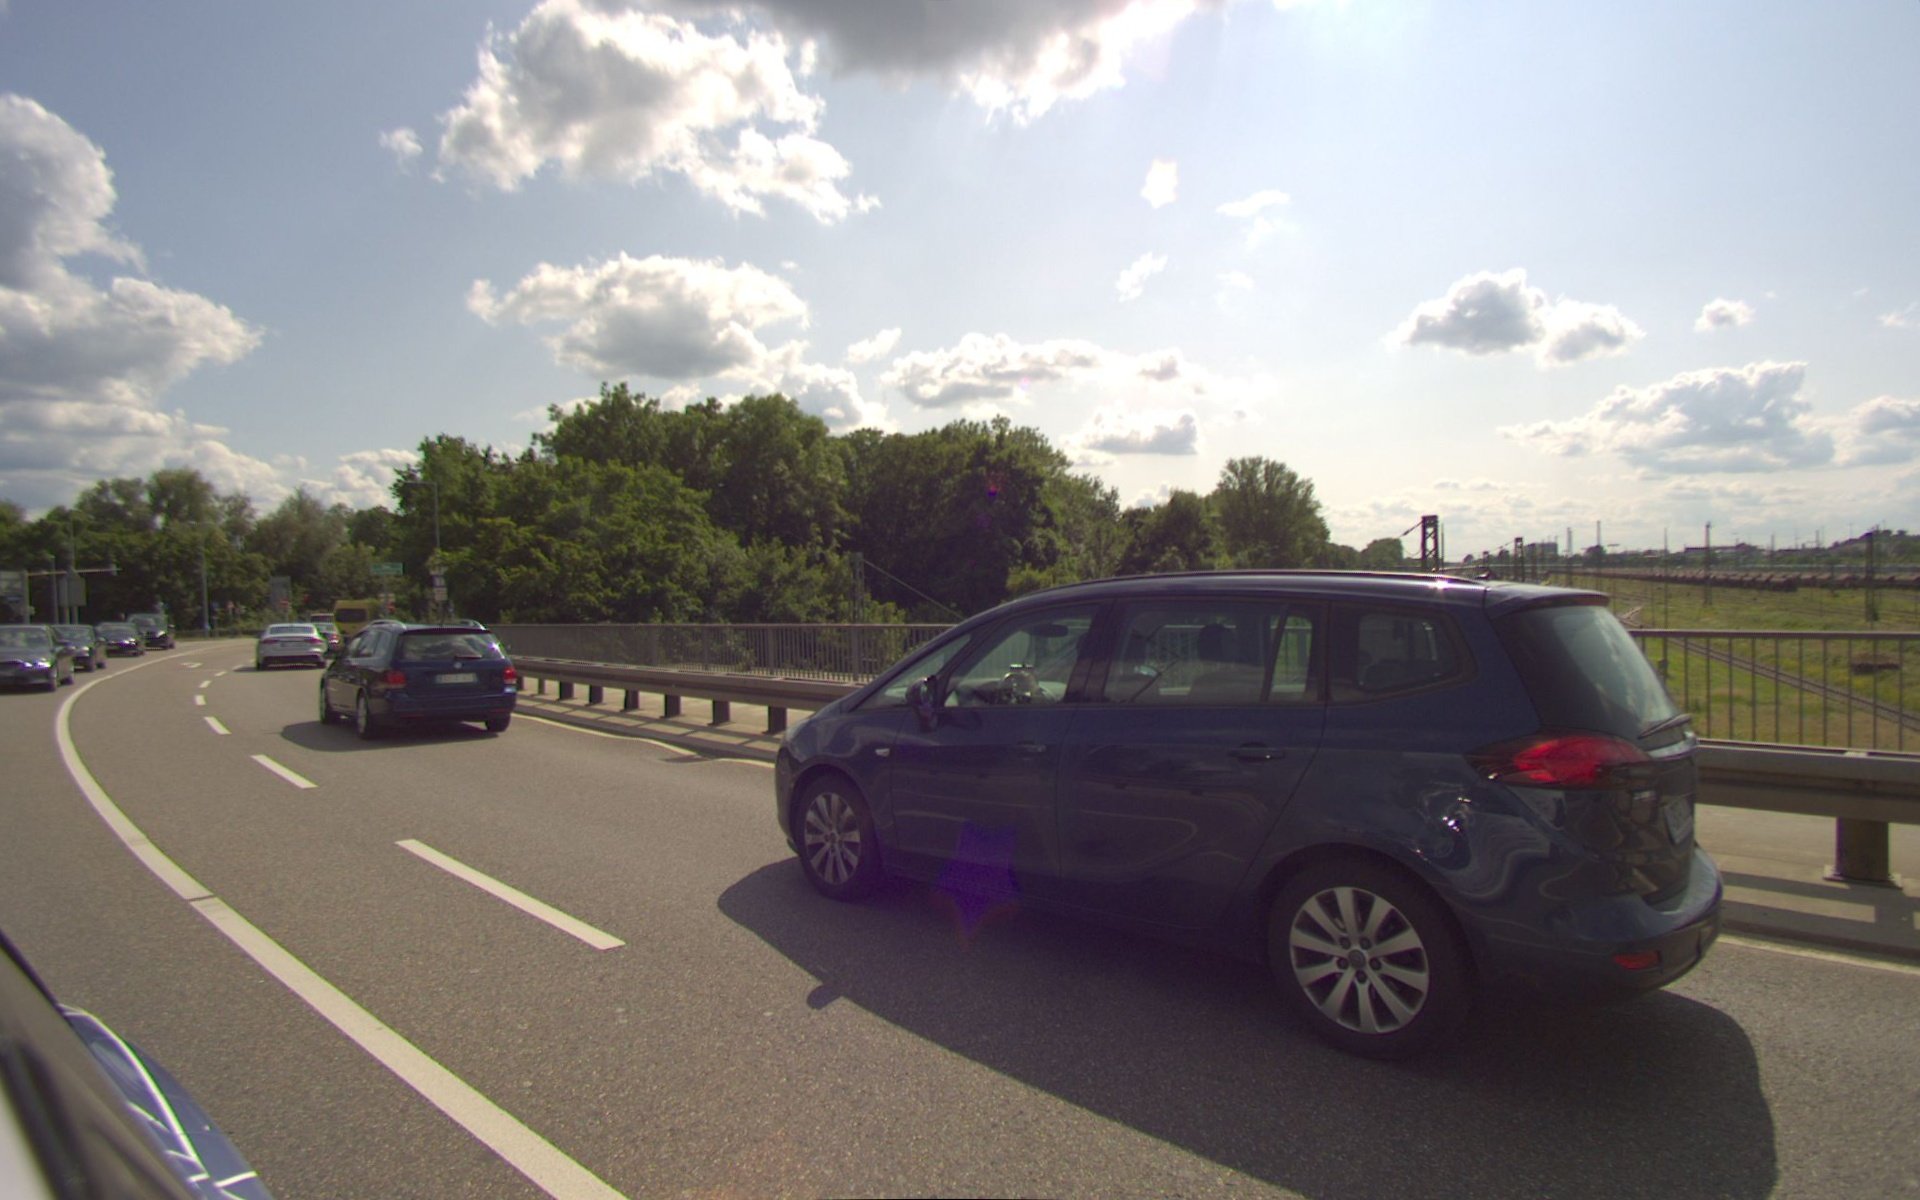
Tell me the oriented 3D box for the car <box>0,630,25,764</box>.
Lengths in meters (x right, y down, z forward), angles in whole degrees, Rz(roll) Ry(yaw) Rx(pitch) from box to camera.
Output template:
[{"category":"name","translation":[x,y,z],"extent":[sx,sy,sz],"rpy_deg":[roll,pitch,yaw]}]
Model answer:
[{"category":"car","translation":[-10.786,1.030,10.021],"extent":[1.767,1.446,4.379],"rpy_deg":[1,-2,-37]}]

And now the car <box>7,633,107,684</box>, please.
[{"category":"car","translation":[-27.918,1.770,31.428],"extent":[1.793,1.347,4.740],"rpy_deg":[-3,0,-36]}]

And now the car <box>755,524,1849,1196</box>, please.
[{"category":"car","translation":[1.091,0.678,4.620],"extent":[4.427,1.644,1.699],"rpy_deg":[-1,-2,42]}]

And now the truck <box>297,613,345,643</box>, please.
[{"category":"truck","translation":[-44.458,1.928,70.486],"extent":[1.933,1.927,5.387],"rpy_deg":[0,-1,-22]}]

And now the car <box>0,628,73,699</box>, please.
[{"category":"car","translation":[-20.886,1.344,22.093],"extent":[1.829,1.373,4.010],"rpy_deg":[1,-1,-35]}]

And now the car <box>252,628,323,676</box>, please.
[{"category":"car","translation":[-21.518,1.601,32.374],"extent":[1.770,1.385,4.592],"rpy_deg":[0,-1,-34]}]

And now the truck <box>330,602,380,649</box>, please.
[{"category":"truck","translation":[-35.645,1.544,59.758],"extent":[1.965,2.641,6.123],"rpy_deg":[1,-2,-26]}]

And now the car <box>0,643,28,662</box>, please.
[{"category":"car","translation":[-73.478,4.064,76.612],"extent":[4.156,1.386,1.759],"rpy_deg":[-3,-1,-1]}]

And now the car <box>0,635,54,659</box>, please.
[{"category":"car","translation":[-74.867,3.756,80.383],"extent":[4.156,1.658,1.838],"rpy_deg":[-3,-1,-1]}]

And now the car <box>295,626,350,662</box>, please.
[{"category":"car","translation":[-28.005,1.898,44.545],"extent":[1.723,1.460,4.351],"rpy_deg":[0,-1,-28]}]

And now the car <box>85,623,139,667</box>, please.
[{"category":"car","translation":[-36.244,1.881,43.295],"extent":[1.613,1.524,3.728],"rpy_deg":[-3,4,-38]}]

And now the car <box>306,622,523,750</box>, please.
[{"category":"car","translation":[-7.557,1.053,13.811],"extent":[1.638,1.465,4.332],"rpy_deg":[1,-2,-42]}]
